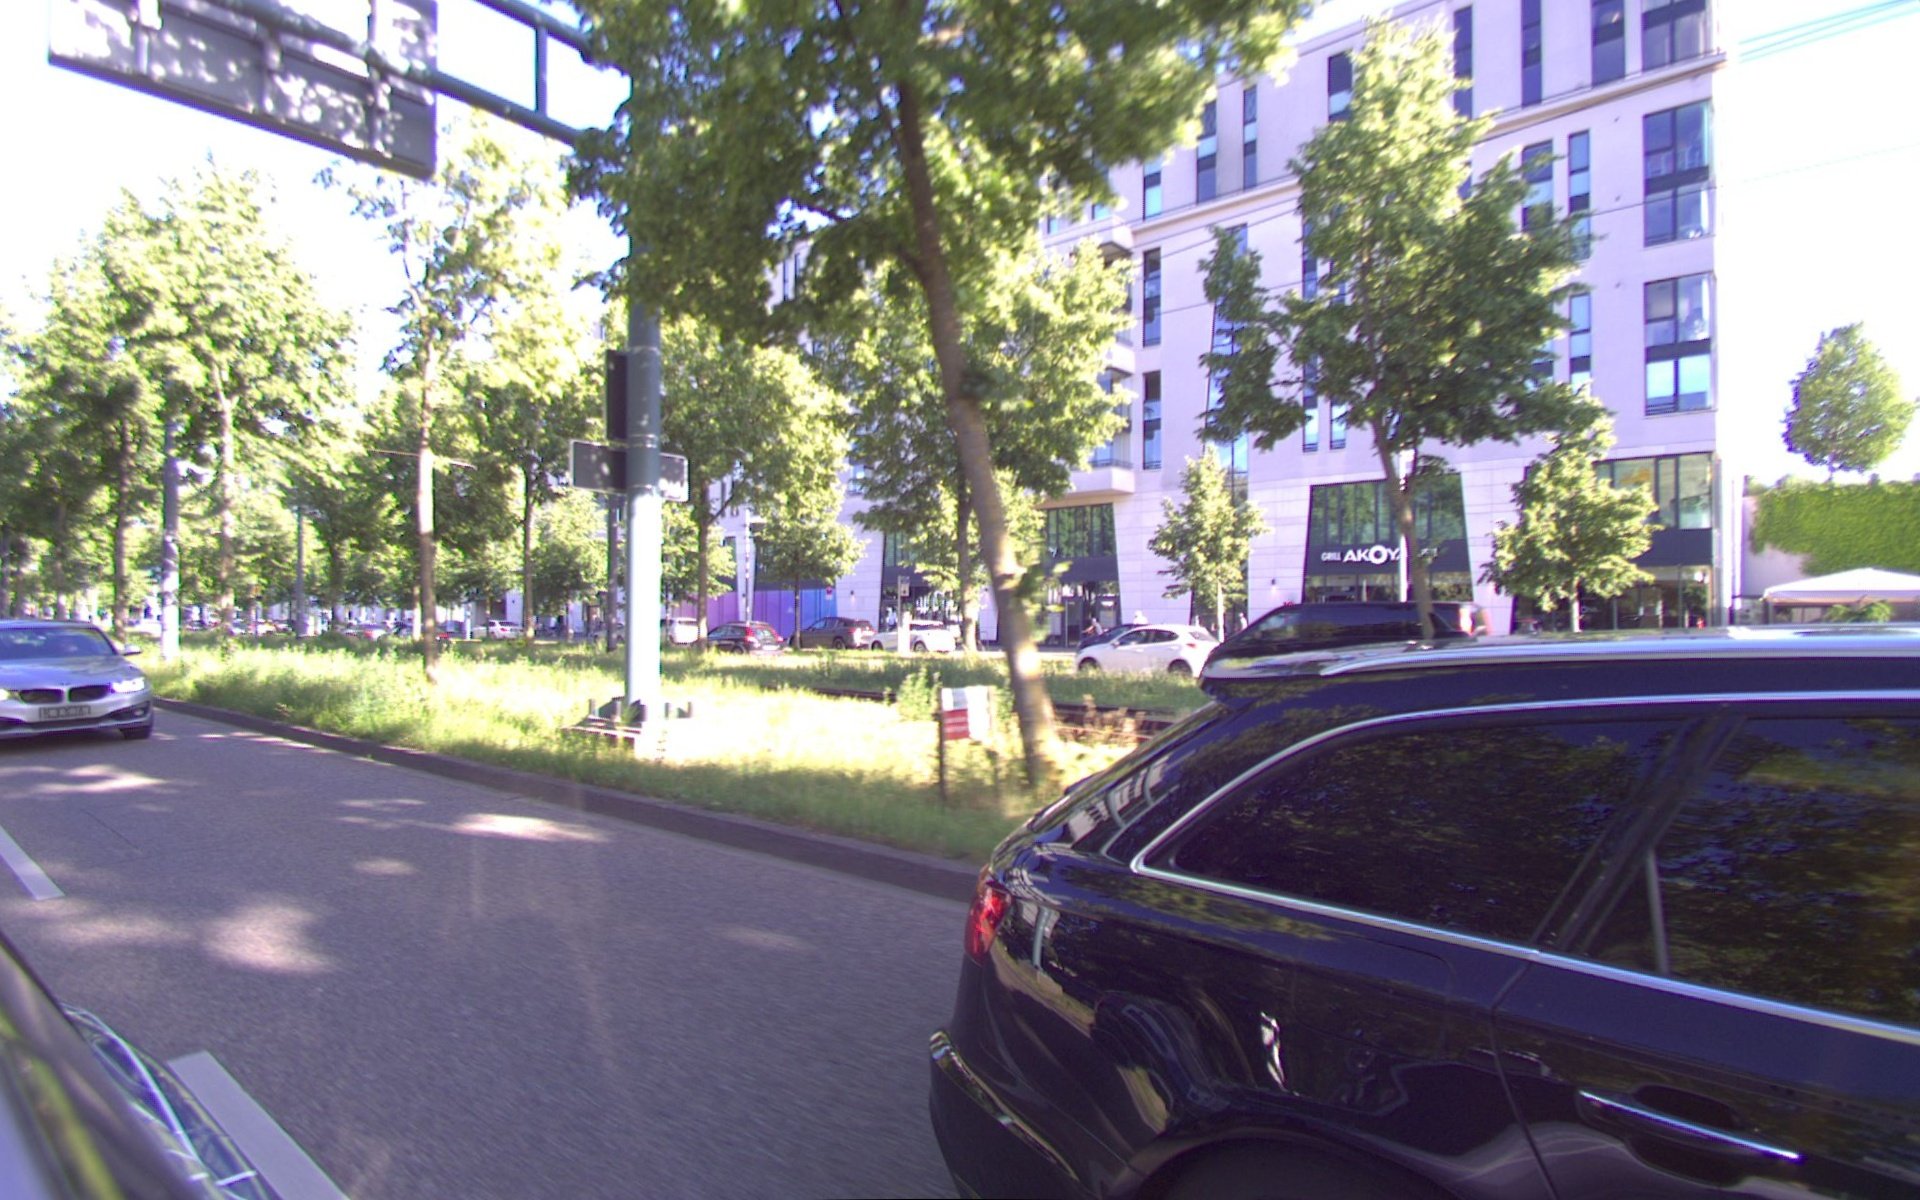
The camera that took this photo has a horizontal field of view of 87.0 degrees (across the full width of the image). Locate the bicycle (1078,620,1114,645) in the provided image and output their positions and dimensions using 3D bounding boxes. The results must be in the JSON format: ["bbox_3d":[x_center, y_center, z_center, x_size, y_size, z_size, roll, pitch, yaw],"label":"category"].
[{"bbox_3d":[5.569,1.328,41.568,1.484,1.024,0.425,-1,0,43],"label":"bicycle"}]

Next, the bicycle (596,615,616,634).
[{"bbox_3d":[-25.206,1.742,72.135,1.607,1.290,0.592,-1,0,39],"label":"bicycle"}]

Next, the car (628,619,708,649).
[{"bbox_3d":[-15.597,1.788,53.989,4.454,1.452,1.973,-1,0,41],"label":"car"}]

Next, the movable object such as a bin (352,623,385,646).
[{"bbox_3d":[-48.314,2.818,82.687,1.554,1.808,1.951,-1,0,39],"label":"movable object such as a bin"}]

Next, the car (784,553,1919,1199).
[{"bbox_3d":[2.164,0.673,1.167,5.083,1.491,1.932,-2,0,42],"label":"car"}]

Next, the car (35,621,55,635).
[{"bbox_3d":[-138.116,4.185,152.703,4.001,2.029,1.971,-1,0,44],"label":"car"}]

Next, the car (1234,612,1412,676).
[{"bbox_3d":[11.040,1.278,30.956,4.771,1.785,1.974,-1,0,39],"label":"car"}]

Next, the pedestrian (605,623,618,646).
[{"bbox_3d":[-25.595,2.547,74.292,0.719,1.663,0.629,-1,0,39],"label":"pedestrian"}]

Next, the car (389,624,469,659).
[{"bbox_3d":[-24.789,1.903,47.173,4.457,1.452,1.971,-1,0,44],"label":"car"}]

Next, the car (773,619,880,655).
[{"bbox_3d":[-6.116,1.639,45.963,4.931,1.452,1.974,-1,0,39],"label":"car"}]

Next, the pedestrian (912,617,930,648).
[{"bbox_3d":[-2.155,1.797,55.999,0.718,1.663,0.630,-1,0,34],"label":"pedestrian"}]

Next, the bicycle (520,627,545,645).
[{"bbox_3d":[-32.953,2.742,78.055,0.935,1.290,2.775,-1,0,-42],"label":"bicycle"}]

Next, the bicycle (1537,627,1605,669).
[{"bbox_3d":[19.756,1.536,32.746,0.579,1.262,1.846,-1,0,-27],"label":"bicycle"}]

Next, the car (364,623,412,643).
[{"bbox_3d":[-45.481,2.613,80.471,4.015,1.452,1.974,-1,0,39],"label":"car"}]

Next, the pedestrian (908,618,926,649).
[{"bbox_3d":[-2.345,1.806,55.099,0.719,1.663,0.629,-1,0,39],"label":"pedestrian"}]

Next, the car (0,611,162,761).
[{"bbox_3d":[-11.698,0.964,12.749,4.276,1.590,1.862,-1,0,42],"label":"car"}]

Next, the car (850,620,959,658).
[{"bbox_3d":[-2.390,1.607,42.919,4.451,1.452,1.974,-1,0,39],"label":"car"}]

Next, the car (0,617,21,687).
[{"bbox_3d":[-23.018,1.182,23.192,4.000,1.534,1.925,-1,0,43],"label":"car"}]

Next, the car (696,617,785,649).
[{"bbox_3d":[-10.894,1.609,50.167,4.451,1.452,1.974,-1,0,39],"label":"car"}]

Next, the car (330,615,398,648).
[{"bbox_3d":[-35.311,1.853,59.896,5.248,1.855,1.972,-2,-2,42],"label":"car"}]

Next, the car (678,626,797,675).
[{"bbox_3d":[-7.989,1.757,36.140,4.317,1.539,1.973,-1,0,41],"label":"car"}]

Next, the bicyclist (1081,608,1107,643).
[{"bbox_3d":[5.516,1.030,41.612,0.956,1.429,0.425,-1,0,43],"label":"bicyclist"}]

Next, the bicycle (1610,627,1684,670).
[{"bbox_3d":[21.278,1.499,31.372,1.839,1.262,0.582,-1,0,41],"label":"bicycle"}]

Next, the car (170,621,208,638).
[{"bbox_3d":[-73.159,2.747,96.004,5.109,1.452,1.972,-1,0,42],"label":"car"}]

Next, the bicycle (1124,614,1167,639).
[{"bbox_3d":[7.551,1.067,41.159,1.800,1.024,0.375,-1,0,43],"label":"bicycle"}]

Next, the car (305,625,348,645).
[{"bbox_3d":[-56.901,3.121,90.893,4.334,1.742,1.974,-1,0,39],"label":"car"}]

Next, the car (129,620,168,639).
[{"bbox_3d":[-75.394,2.701,93.979,5.108,1.698,1.973,-1,0,41],"label":"car"}]

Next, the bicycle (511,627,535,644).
[{"bbox_3d":[-34.794,2.794,80.571,0.935,1.290,2.775,-1,0,-42],"label":"bicycle"}]

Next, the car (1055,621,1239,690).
[{"bbox_3d":[4.636,1.326,25.431,4.167,1.583,1.971,-1,-2,44],"label":"car"}]

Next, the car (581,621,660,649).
[{"bbox_3d":[-19.312,1.953,57.457,4.774,1.452,1.974,-1,0,39],"label":"car"}]

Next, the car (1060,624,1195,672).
[{"bbox_3d":[5.796,1.613,35.202,4.264,1.452,1.937,-1,0,42],"label":"car"}]

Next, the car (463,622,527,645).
[{"bbox_3d":[-31.504,2.229,68.542,4.920,1.452,1.974,-1,0,39],"label":"car"}]
